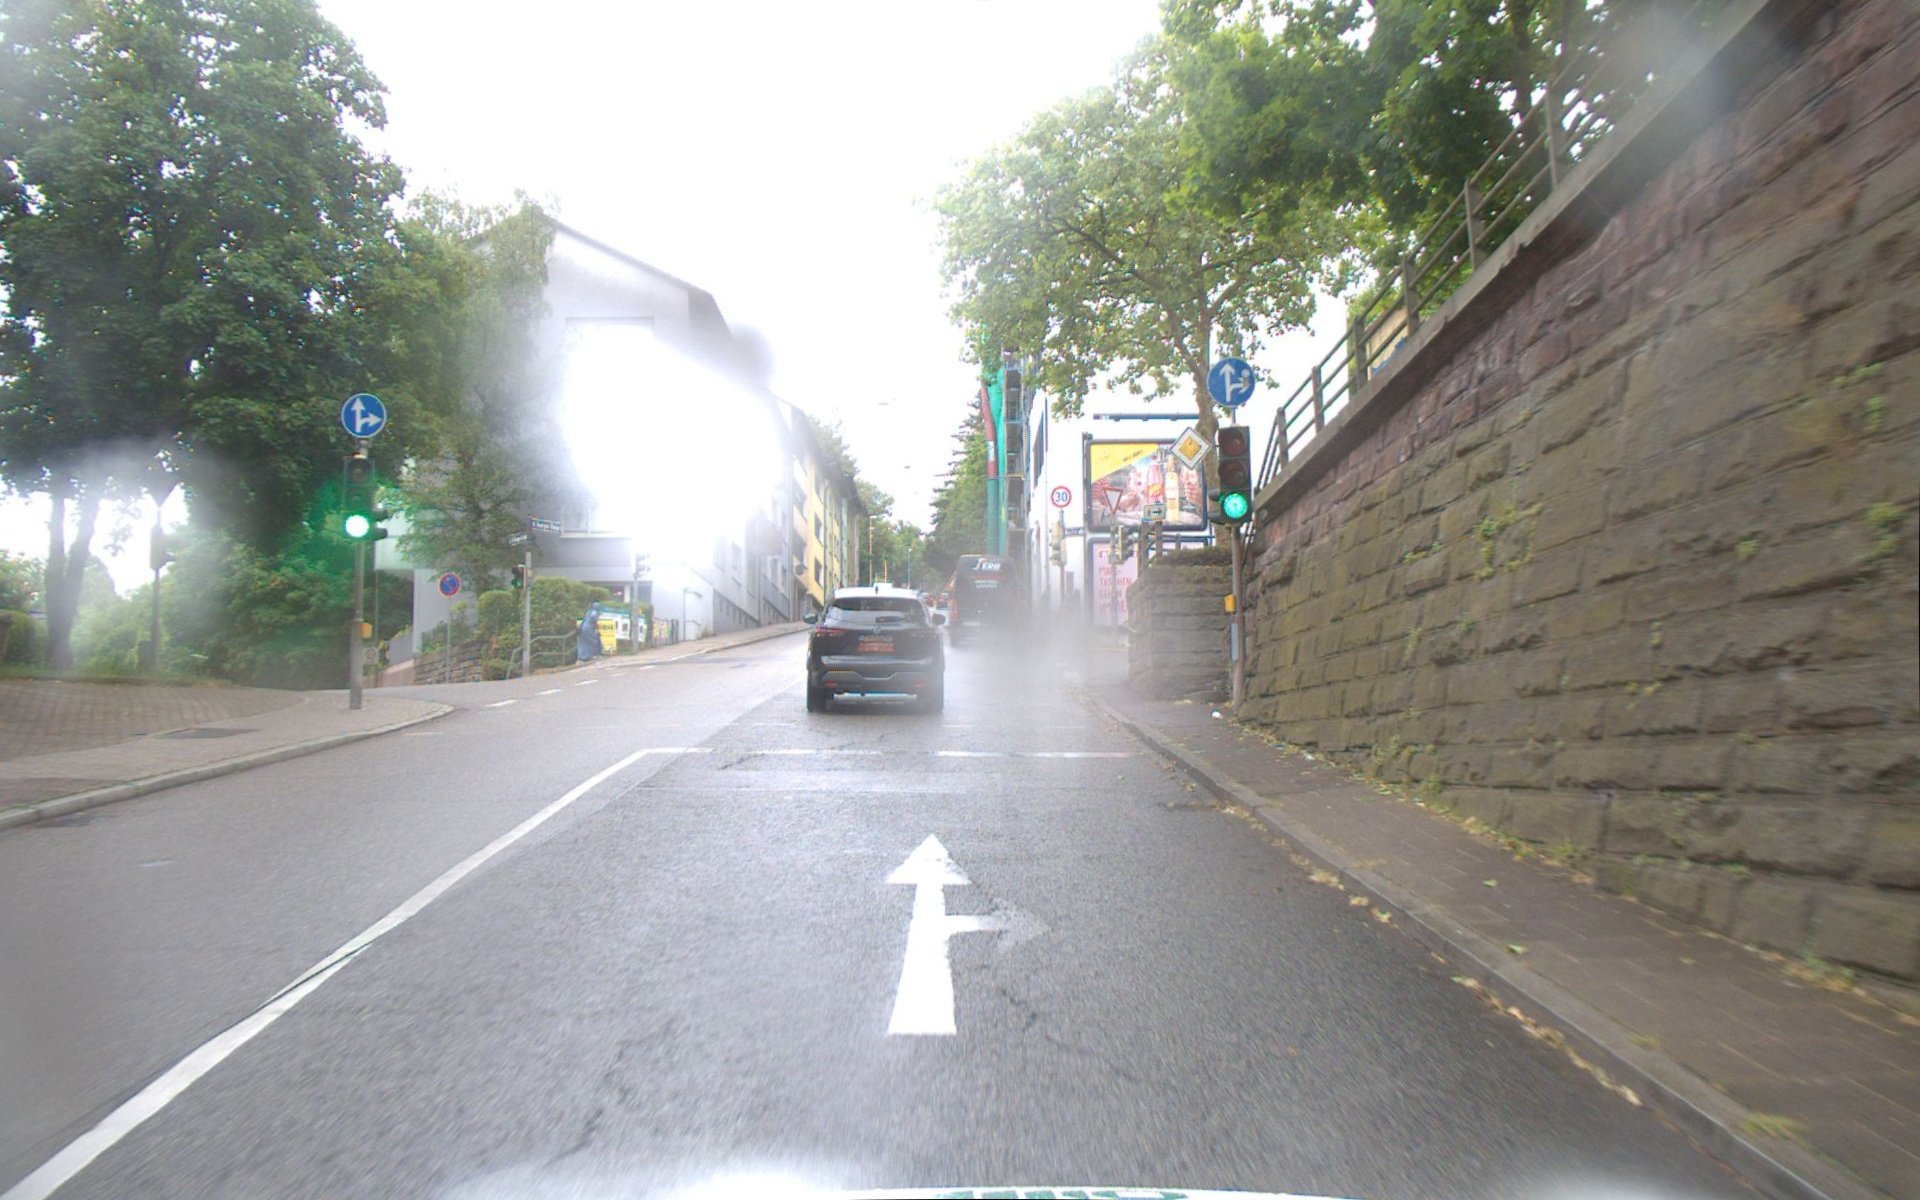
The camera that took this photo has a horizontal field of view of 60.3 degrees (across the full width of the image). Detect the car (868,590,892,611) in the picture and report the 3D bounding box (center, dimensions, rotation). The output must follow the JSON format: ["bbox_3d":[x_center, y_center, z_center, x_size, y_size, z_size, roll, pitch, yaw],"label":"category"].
[{"bbox_3d":[-6.915,0.049,142.697,1.950,1.786,4.478,0,1,-2],"label":"car"}]

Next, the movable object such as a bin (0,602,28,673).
[{"bbox_3d":[-14.303,0.556,24.667,0.620,1.034,0.496,2,-2,-26],"label":"movable object such as a bin"}]

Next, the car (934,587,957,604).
[{"bbox_3d":[-1.375,-0.440,153.954,2.033,1.587,3.998,0,0,-2],"label":"car"}]

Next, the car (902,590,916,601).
[{"bbox_3d":[-7.674,-0.636,247.571,2.032,1.587,3.999,0,0,-2],"label":"car"}]

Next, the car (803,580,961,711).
[{"bbox_3d":[-0.999,0.550,22.787,1.953,1.586,4.000,1,1,-1],"label":"car"}]

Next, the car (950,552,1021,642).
[{"bbox_3d":[0.713,-0.006,49.296,1.953,2.456,5.835,1,-2,0],"label":"car"}]

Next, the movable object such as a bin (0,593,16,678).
[{"bbox_3d":[-14.106,0.519,24.060,0.553,1.221,0.683,2,-2,-27],"label":"movable object such as a bin"}]

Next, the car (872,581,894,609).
[{"bbox_3d":[-7.064,-0.508,152.228,1.950,2.518,5.782,0,1,-2],"label":"car"}]

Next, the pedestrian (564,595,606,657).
[{"bbox_3d":[-9.653,0.679,42.642,0.852,1.568,1.086,1,-2,-4],"label":"pedestrian"}]

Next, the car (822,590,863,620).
[{"bbox_3d":[-6.817,0.291,96.546,1.952,1.679,4.442,0,1,2],"label":"car"}]

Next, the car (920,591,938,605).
[{"bbox_3d":[-3.569,-0.223,192.317,2.032,1.587,3.999,0,0,-2],"label":"car"}]
